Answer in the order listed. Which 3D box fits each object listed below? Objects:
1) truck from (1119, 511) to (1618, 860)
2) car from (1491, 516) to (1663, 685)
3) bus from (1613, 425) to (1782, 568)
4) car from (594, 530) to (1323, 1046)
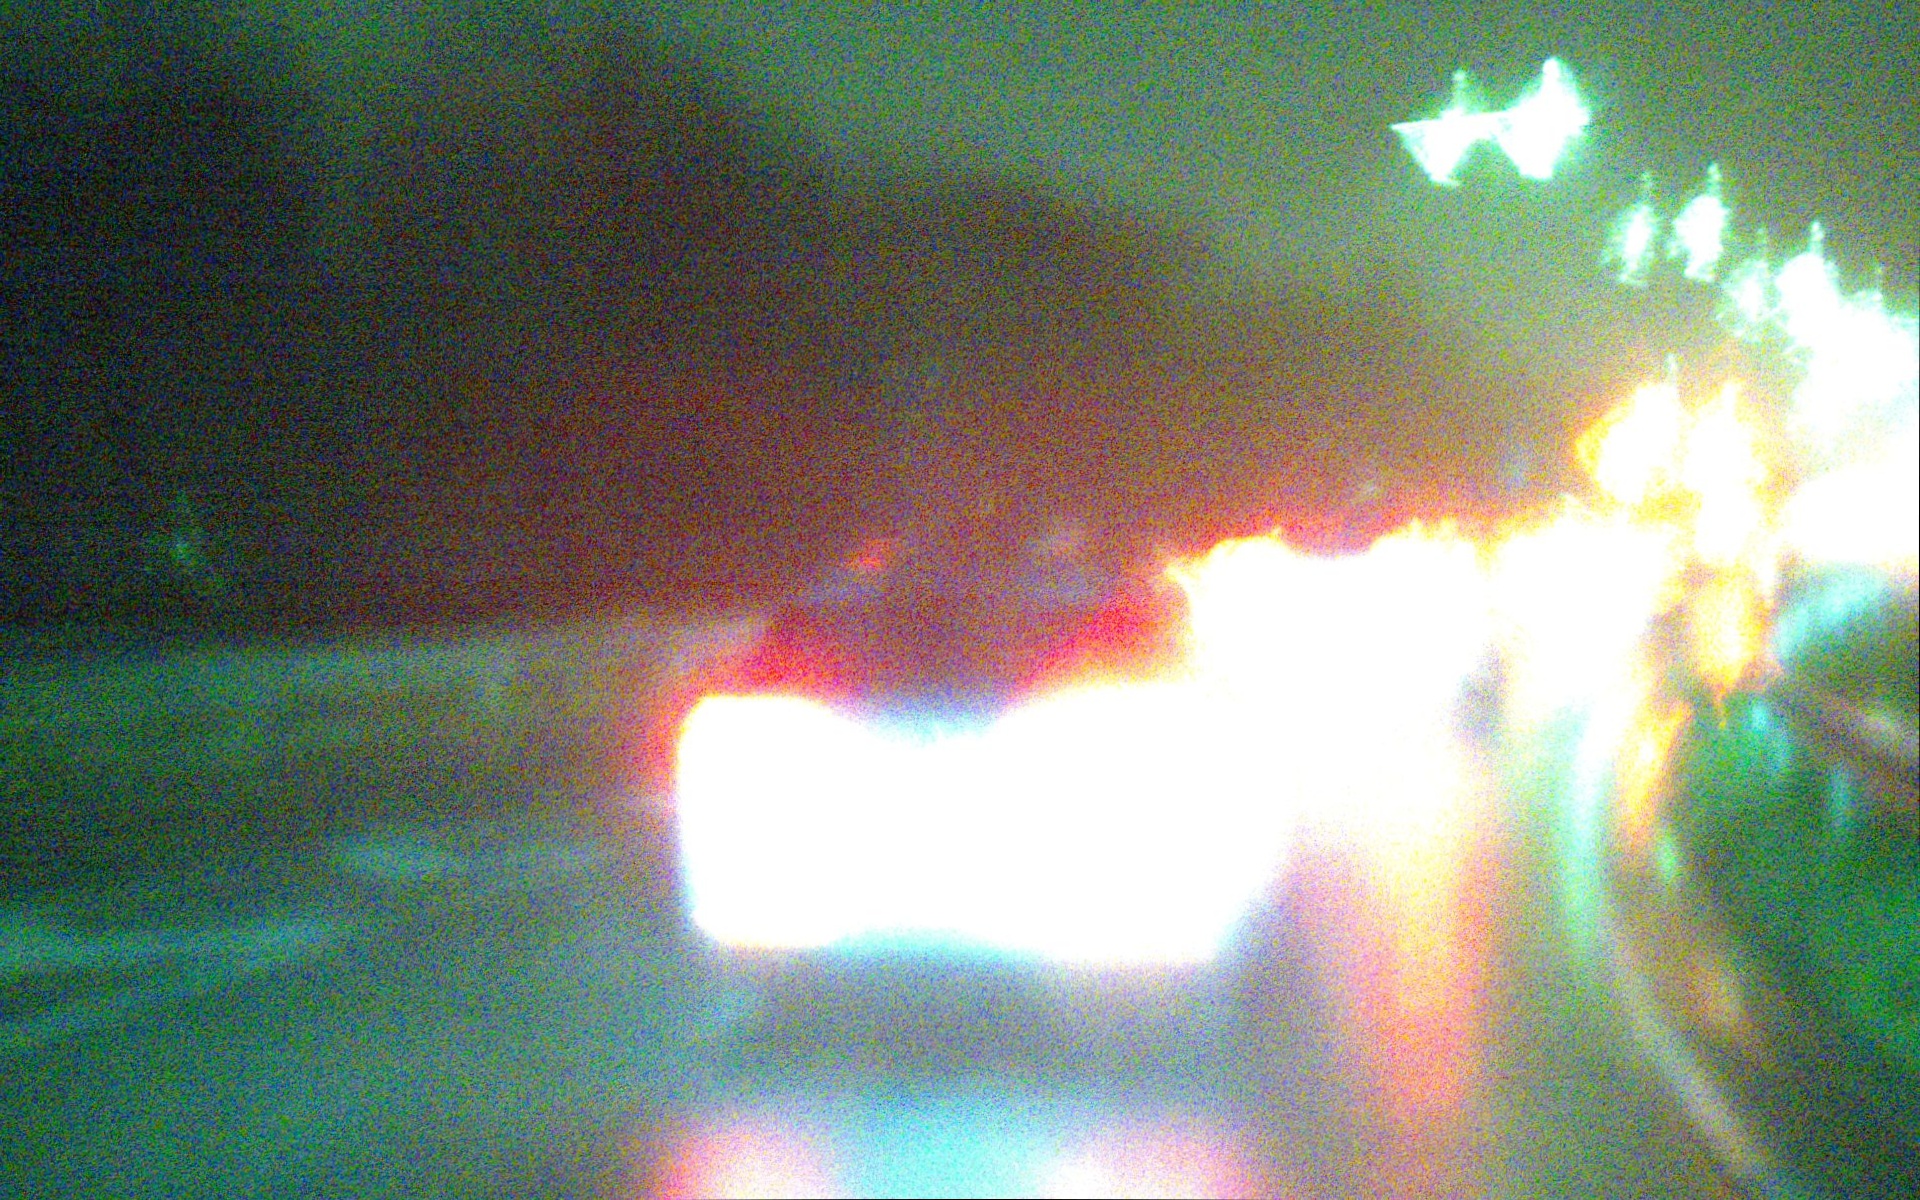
[{"bbox_3d":[3.631,0.592,28.688,3.072,2.520,7.161,0,0,16],"label":"truck"},{"bbox_3d":[7.495,-0.009,41.508,1.837,1.942,3.998,0,0,13],"label":"car"},{"bbox_3d":[17.178,-2.399,79.621,2.746,3.112,9.193,0,2,19],"label":"bus"},{"bbox_3d":[0.174,0.534,11.901,1.945,1.486,3.715,-1,1,9],"label":"car"}]
